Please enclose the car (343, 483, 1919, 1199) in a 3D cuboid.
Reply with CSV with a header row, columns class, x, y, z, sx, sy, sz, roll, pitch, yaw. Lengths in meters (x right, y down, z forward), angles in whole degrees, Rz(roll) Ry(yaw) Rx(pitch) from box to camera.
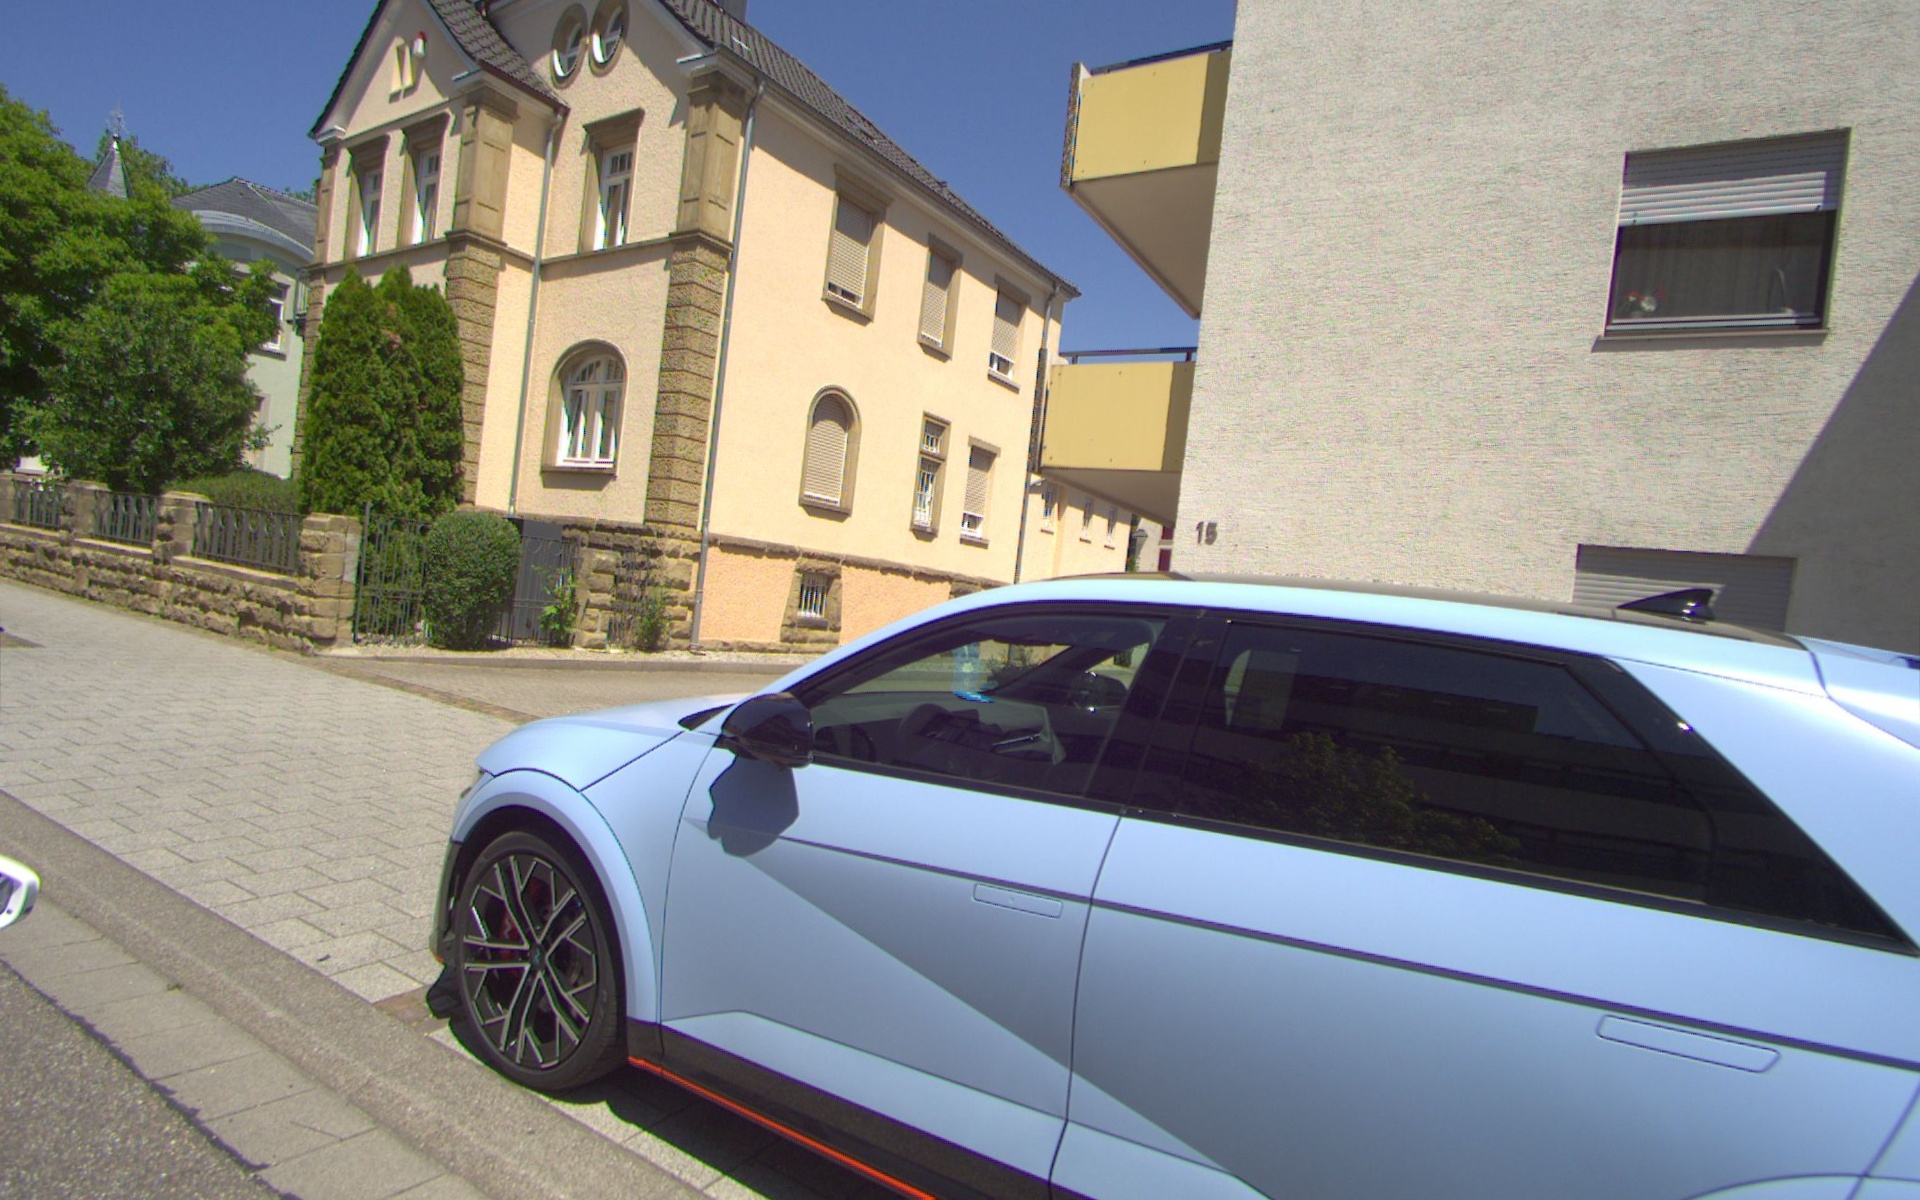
class,x,y,z,sx,sy,sz,roll,pitch,yaw
car,0.362,0.684,2.876,4.354,1.641,1.844,7,2,32
